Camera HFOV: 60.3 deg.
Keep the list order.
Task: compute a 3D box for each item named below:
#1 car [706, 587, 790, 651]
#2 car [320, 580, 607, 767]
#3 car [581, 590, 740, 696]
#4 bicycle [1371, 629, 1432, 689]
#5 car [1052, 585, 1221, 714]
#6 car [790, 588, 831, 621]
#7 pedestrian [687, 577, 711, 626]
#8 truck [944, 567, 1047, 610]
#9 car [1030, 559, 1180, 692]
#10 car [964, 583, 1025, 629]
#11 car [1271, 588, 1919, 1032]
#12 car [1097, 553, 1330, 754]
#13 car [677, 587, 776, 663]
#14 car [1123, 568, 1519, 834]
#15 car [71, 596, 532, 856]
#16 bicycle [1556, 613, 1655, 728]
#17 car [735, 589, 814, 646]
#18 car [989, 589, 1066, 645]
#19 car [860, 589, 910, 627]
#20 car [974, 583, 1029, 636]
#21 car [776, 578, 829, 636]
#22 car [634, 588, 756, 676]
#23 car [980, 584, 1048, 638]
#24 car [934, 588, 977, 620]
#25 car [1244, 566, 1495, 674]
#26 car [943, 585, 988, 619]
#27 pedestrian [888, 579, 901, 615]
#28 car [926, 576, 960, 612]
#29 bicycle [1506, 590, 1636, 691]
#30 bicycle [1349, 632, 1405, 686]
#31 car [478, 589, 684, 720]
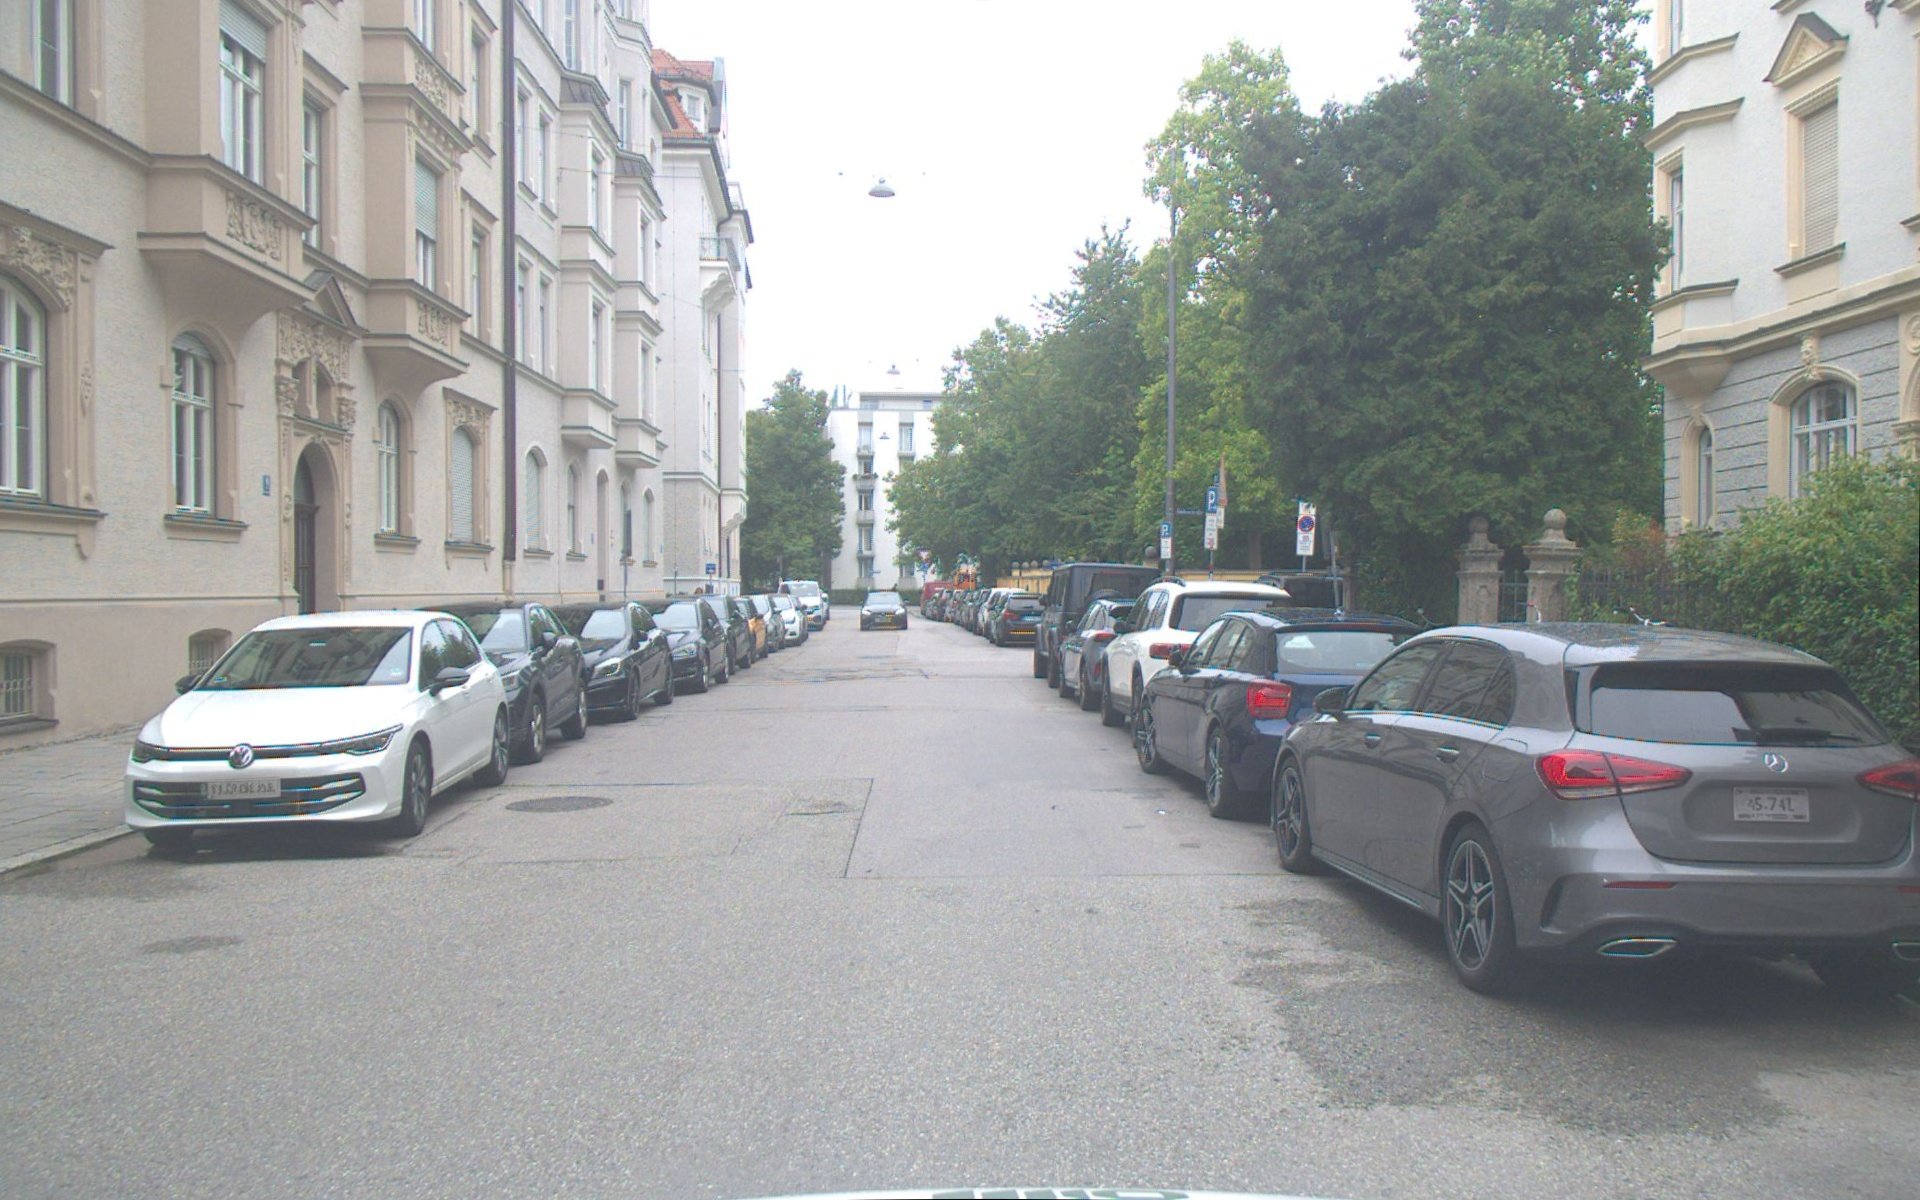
[{"bbox_3d":[-5.442,0.469,42.857,1.691,1.526,3.929,-1,0,-1],"label":"car"},{"bbox_3d":[-4.825,0.618,16.724,1.735,1.544,4.382,-3,1,-3],"label":"car"},{"bbox_3d":[-4.752,0.629,26.801,1.799,1.461,4.244,-3,1,-1],"label":"car"},{"bbox_3d":[6.248,0.824,23.443,0.502,0.795,1.354,0,0,0],"label":"bicycle"},{"bbox_3d":[2.323,0.623,22.642,1.689,1.545,3.628,3,0,-3],"label":"car"},{"bbox_3d":[-8.100,0.209,89.836,1.975,1.662,4.411,-3,1,-3],"label":"car"},{"bbox_3d":[-9.081,0.045,57.476,0.777,1.708,0.699,0,0,-6],"label":"pedestrian"},{"bbox_3d":[2.770,-0.904,129.166,7.542,3.298,2.888,0,0,-15],"label":"truck"},{"bbox_3d":[2.319,0.334,27.650,1.911,1.988,4.664,2,1,-2],"label":"car"},{"bbox_3d":[1.241,0.223,60.706,1.802,1.578,3.943,1,0,-5],"label":"car"},{"bbox_3d":[2.786,0.725,7.767,1.650,1.530,4.015,1,0,-4],"label":"car"},{"bbox_3d":[2.554,0.506,17.685,1.688,1.800,4.412,3,0,-1],"label":"car"},{"bbox_3d":[-5.208,0.519,37.289,1.607,1.525,3.971,-3,1,0],"label":"car"},{"bbox_3d":[2.513,0.607,12.688,1.716,1.638,4.420,2,1,-5],"label":"car"},{"bbox_3d":[-4.488,0.748,12.039,1.800,1.459,4.242,-2,1,-3],"label":"car"},{"bbox_3d":[6.585,0.698,16.921,0.445,1.118,1.313,0,0,-3],"label":"bicycle"},{"bbox_3d":[-5.316,0.456,47.756,1.799,1.463,4.274,-3,1,-1],"label":"car"},{"bbox_3d":[1.811,0.459,45.505,1.801,1.438,4.341,1,0,-1],"label":"car"},{"bbox_3d":[-2.959,0.293,64.569,1.837,1.453,4.405,0,0,-4],"label":"car"},{"bbox_3d":[1.373,0.307,55.520,1.484,1.690,3.671,1,0,-4],"label":"car"},{"bbox_3d":[-6.266,0.236,66.240,1.849,2.164,4.703,-3,1,-3],"label":"car"},{"bbox_3d":[-5.069,0.573,32.100,1.717,1.526,4.018,-2,1,-1],"label":"car"},{"bbox_3d":[1.634,0.330,50.798,1.620,1.545,3.791,1,0,-5],"label":"car"},{"bbox_3d":[-0.253,0.222,84.181,1.802,1.545,3.943,1,0,-5],"label":"car"},{"bbox_3d":[8.018,0.349,32.599,4.444,1.984,1.901,0,2,-8],"label":"car"},{"bbox_3d":[0.249,0.107,80.018,1.802,1.545,3.943,1,0,-5],"label":"car"},{"bbox_3d":[-4.219,-0.171,106.524,0.824,2.325,0.843,0,0,0],"label":"pedestrian"},{"bbox_3d":[-0.990,-0.365,96.124,1.799,1.960,4.005,3,1,1],"label":"car"},{"bbox_3d":[7.774,0.509,21.066,1.458,1.219,0.489,2,0,-7],"label":"bicycle"},{"bbox_3d":[6.263,0.874,24.884,0.502,0.747,1.354,0,0,0],"label":"bicycle"},{"bbox_3d":[-4.822,0.624,21.675,1.797,1.459,4.551,-2,1,-3],"label":"car"}]
